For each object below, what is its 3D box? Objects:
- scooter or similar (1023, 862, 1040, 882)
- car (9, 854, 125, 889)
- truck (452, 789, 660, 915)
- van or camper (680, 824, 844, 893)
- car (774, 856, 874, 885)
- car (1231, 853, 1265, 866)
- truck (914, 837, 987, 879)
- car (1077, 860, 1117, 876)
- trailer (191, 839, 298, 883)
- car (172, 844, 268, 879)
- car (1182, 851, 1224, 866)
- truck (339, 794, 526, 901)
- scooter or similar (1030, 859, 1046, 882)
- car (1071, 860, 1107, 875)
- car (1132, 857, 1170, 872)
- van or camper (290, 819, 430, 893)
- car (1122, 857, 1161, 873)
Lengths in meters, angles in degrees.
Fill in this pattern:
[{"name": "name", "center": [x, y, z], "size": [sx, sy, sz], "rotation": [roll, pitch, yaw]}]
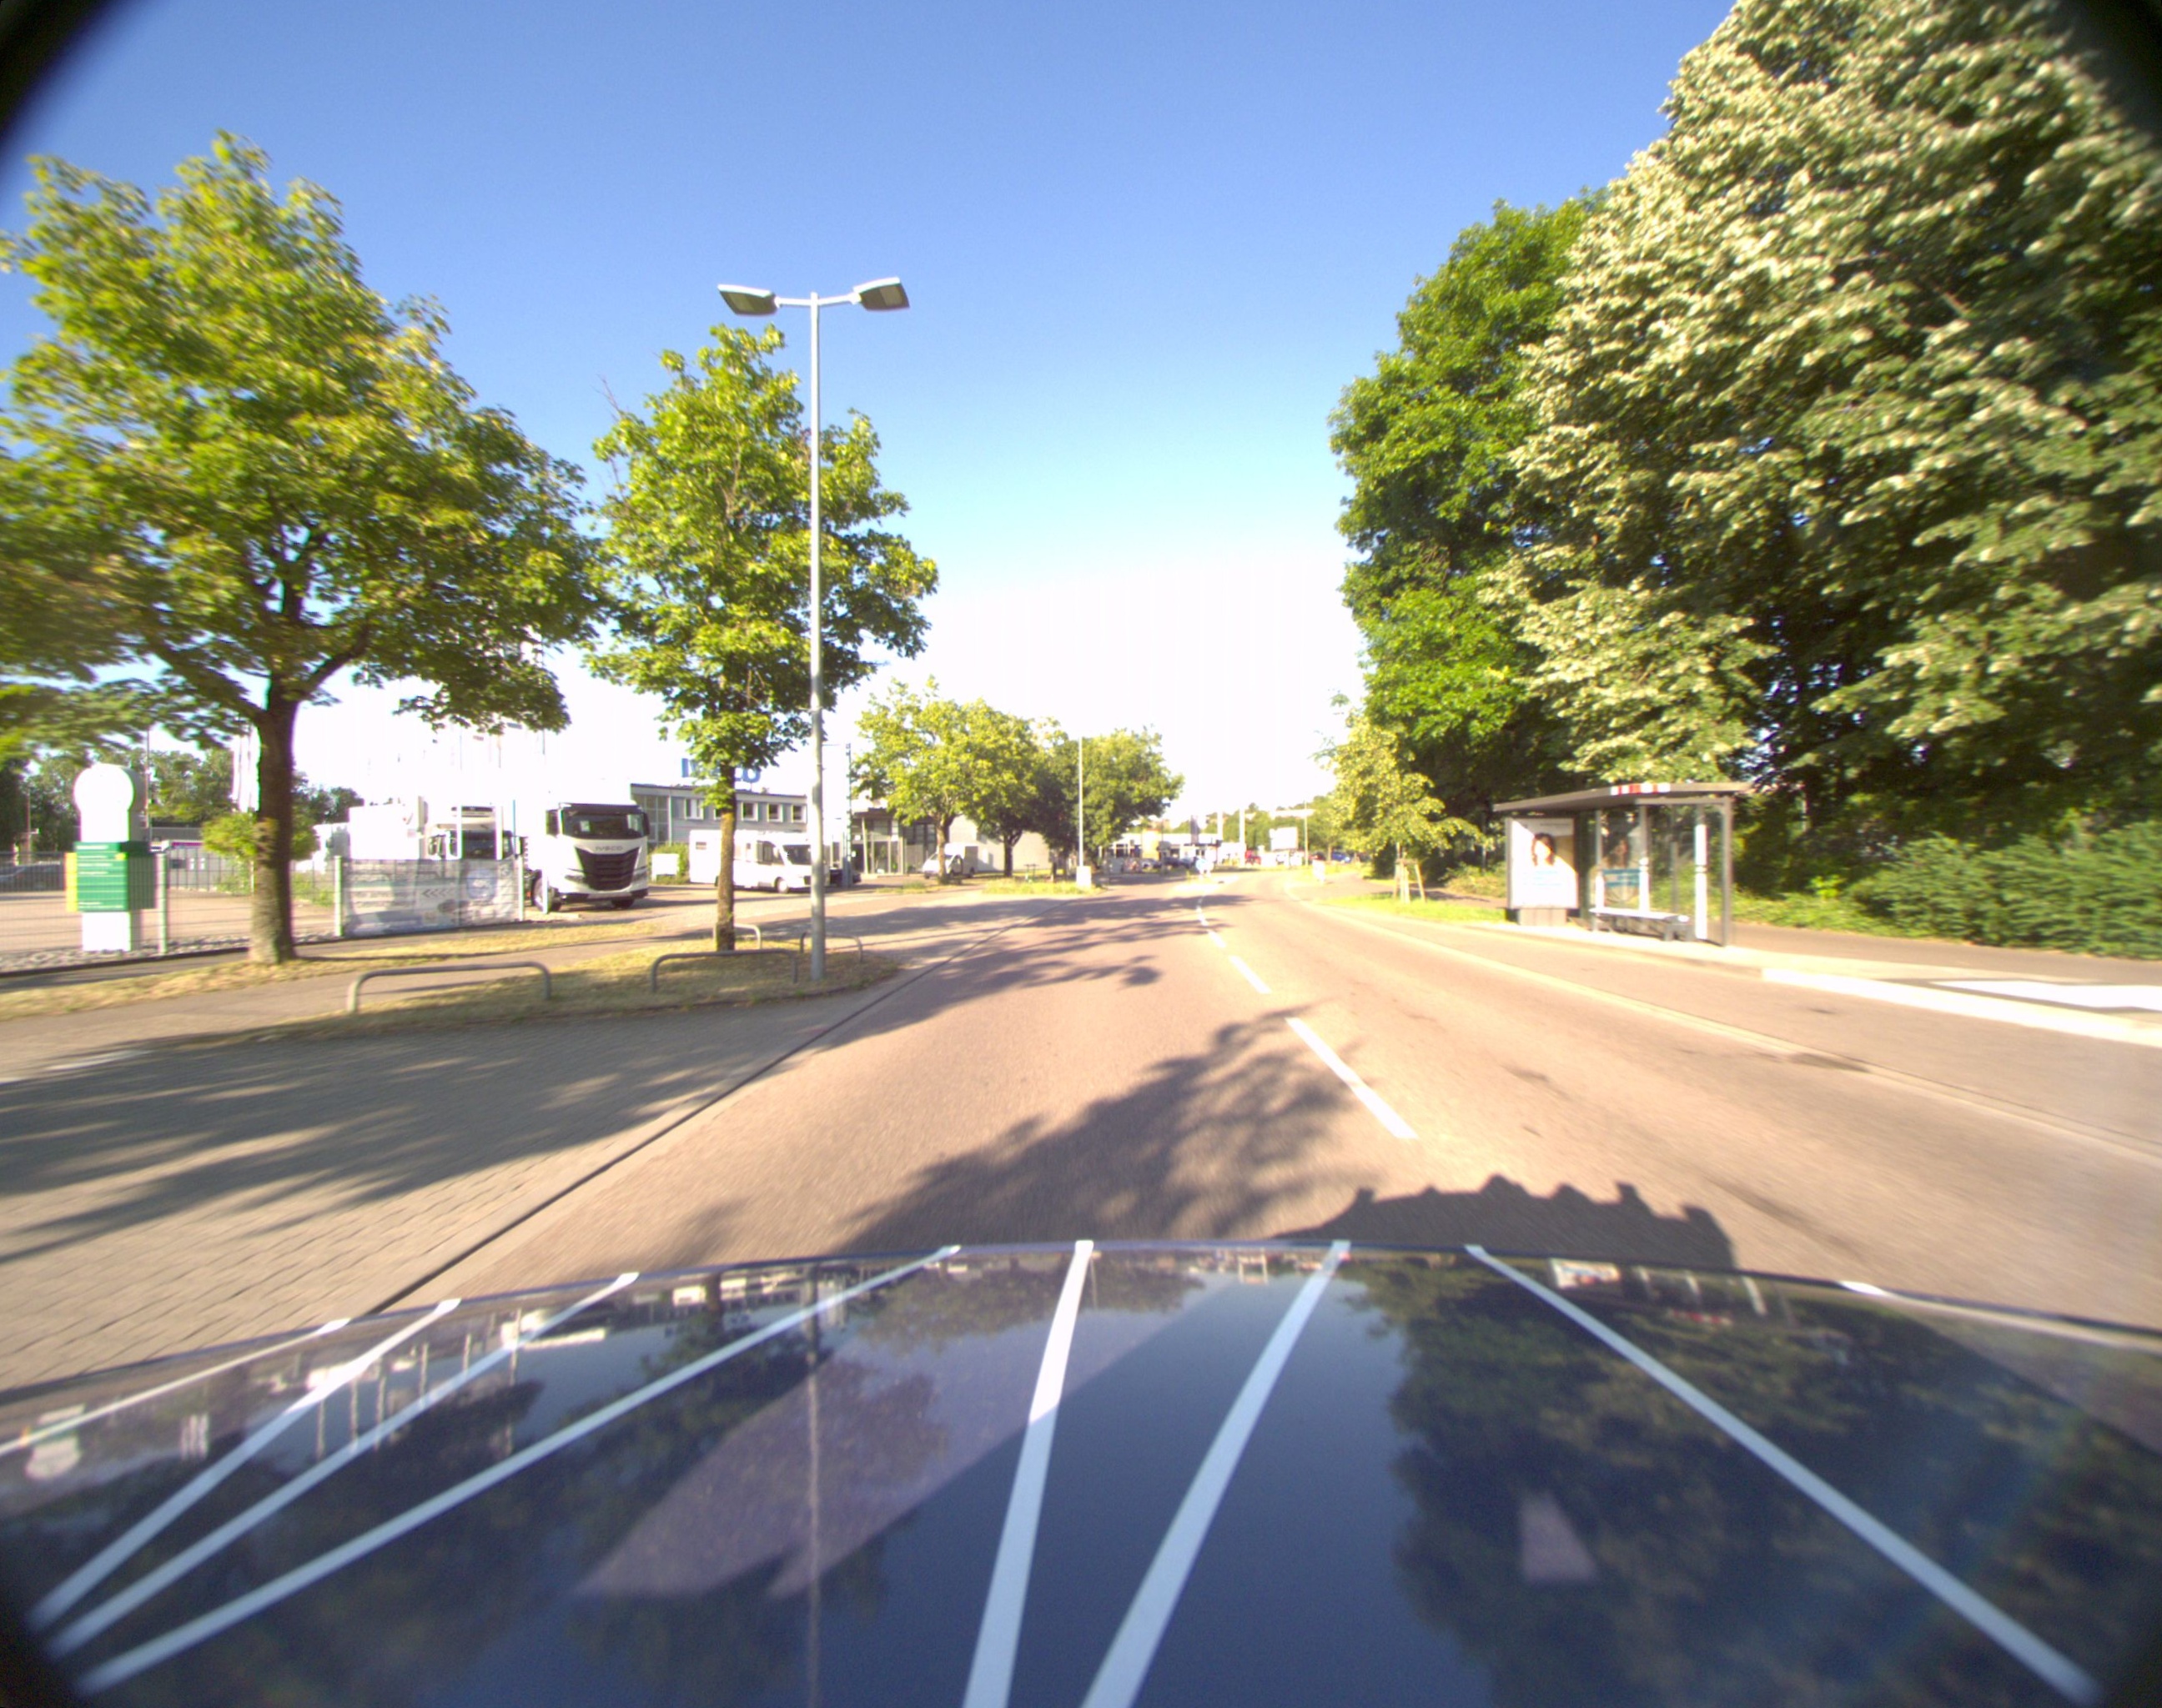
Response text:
[{"name": "scooter or similar", "center": [-2.908, 1.051, 44.823], "size": [0.547, 1.189, 1.483], "rotation": [0, 0, 15]}, {"name": "car", "center": [-60.809, 1.012, 45.632], "size": [1.994, 2.002, 4.008], "rotation": [0, 0, 32]}, {"name": "truck", "center": [-17.297, -0.043, 24.799], "size": [8.230, 3.501, 3.122], "rotation": [0, 0, 37]}, {"name": "van or camper", "center": [-14.928, 0.206, 35.348], "size": [7.989, 2.883, 2.949], "rotation": [0, 0, 32]}, {"name": "car", "center": [-13.777, 0.885, 40.942], "size": [4.813, 1.483, 1.999], "rotation": [0, 0, -8]}, {"name": "car", "center": [25.486, 0.821, 116.320], "size": [2.304, 2.002, 4.835], "rotation": [0, 0, -34]}, {"name": "truck", "center": [-9.139, 0.231, 53.857], "size": [2.541, 2.704, 5.980], "rotation": [3, 1, 17]}, {"name": "car", "center": [2.049, 1.752, 97.682], "size": [4.833, 2.002, 2.305], "rotation": [-1, 0, 39]}, {"name": "trailer", "center": [-60.008, 0.474, 54.627], "size": [1.994, 3.051, 4.868], "rotation": [0, 0, 32]}, {"name": "car", "center": [-58.257, 0.488, 51.450], "size": [2.083, 2.264, 4.008], "rotation": [0, 0, 32]}, {"name": "car", "center": [16.680, 0.590, 104.097], "size": [5.275, 2.002, 2.410], "rotation": [-1, 0, 40]}, {"name": "truck", "center": [-25.883, -0.205, 30.094], "size": [10.090, 3.623, 3.302], "rotation": [0, 0, 36]}, {"name": "scooter or similar", "center": [-2.597, 0.994, 46.394], "size": [0.547, 1.328, 1.483], "rotation": [0, 0, 15]}, {"name": "car", "center": [1.056, 1.886, 106.405], "size": [4.833, 2.002, 2.305], "rotation": [-1, 0, 44]}, {"name": "car", "center": [9.731, 1.423, 106.430], "size": [4.833, 2.002, 2.305], "rotation": [-1, 0, 40]}, {"name": "van or camper", "center": [-35.311, 0.111, 37.121], "size": [8.117, 3.309, 2.419], "rotation": [0, 0, 28]}, {"name": "car", "center": [8.192, 1.482, 103.047], "size": [4.833, 2.002, 2.304], "rotation": [-1, 1, 40]}]
